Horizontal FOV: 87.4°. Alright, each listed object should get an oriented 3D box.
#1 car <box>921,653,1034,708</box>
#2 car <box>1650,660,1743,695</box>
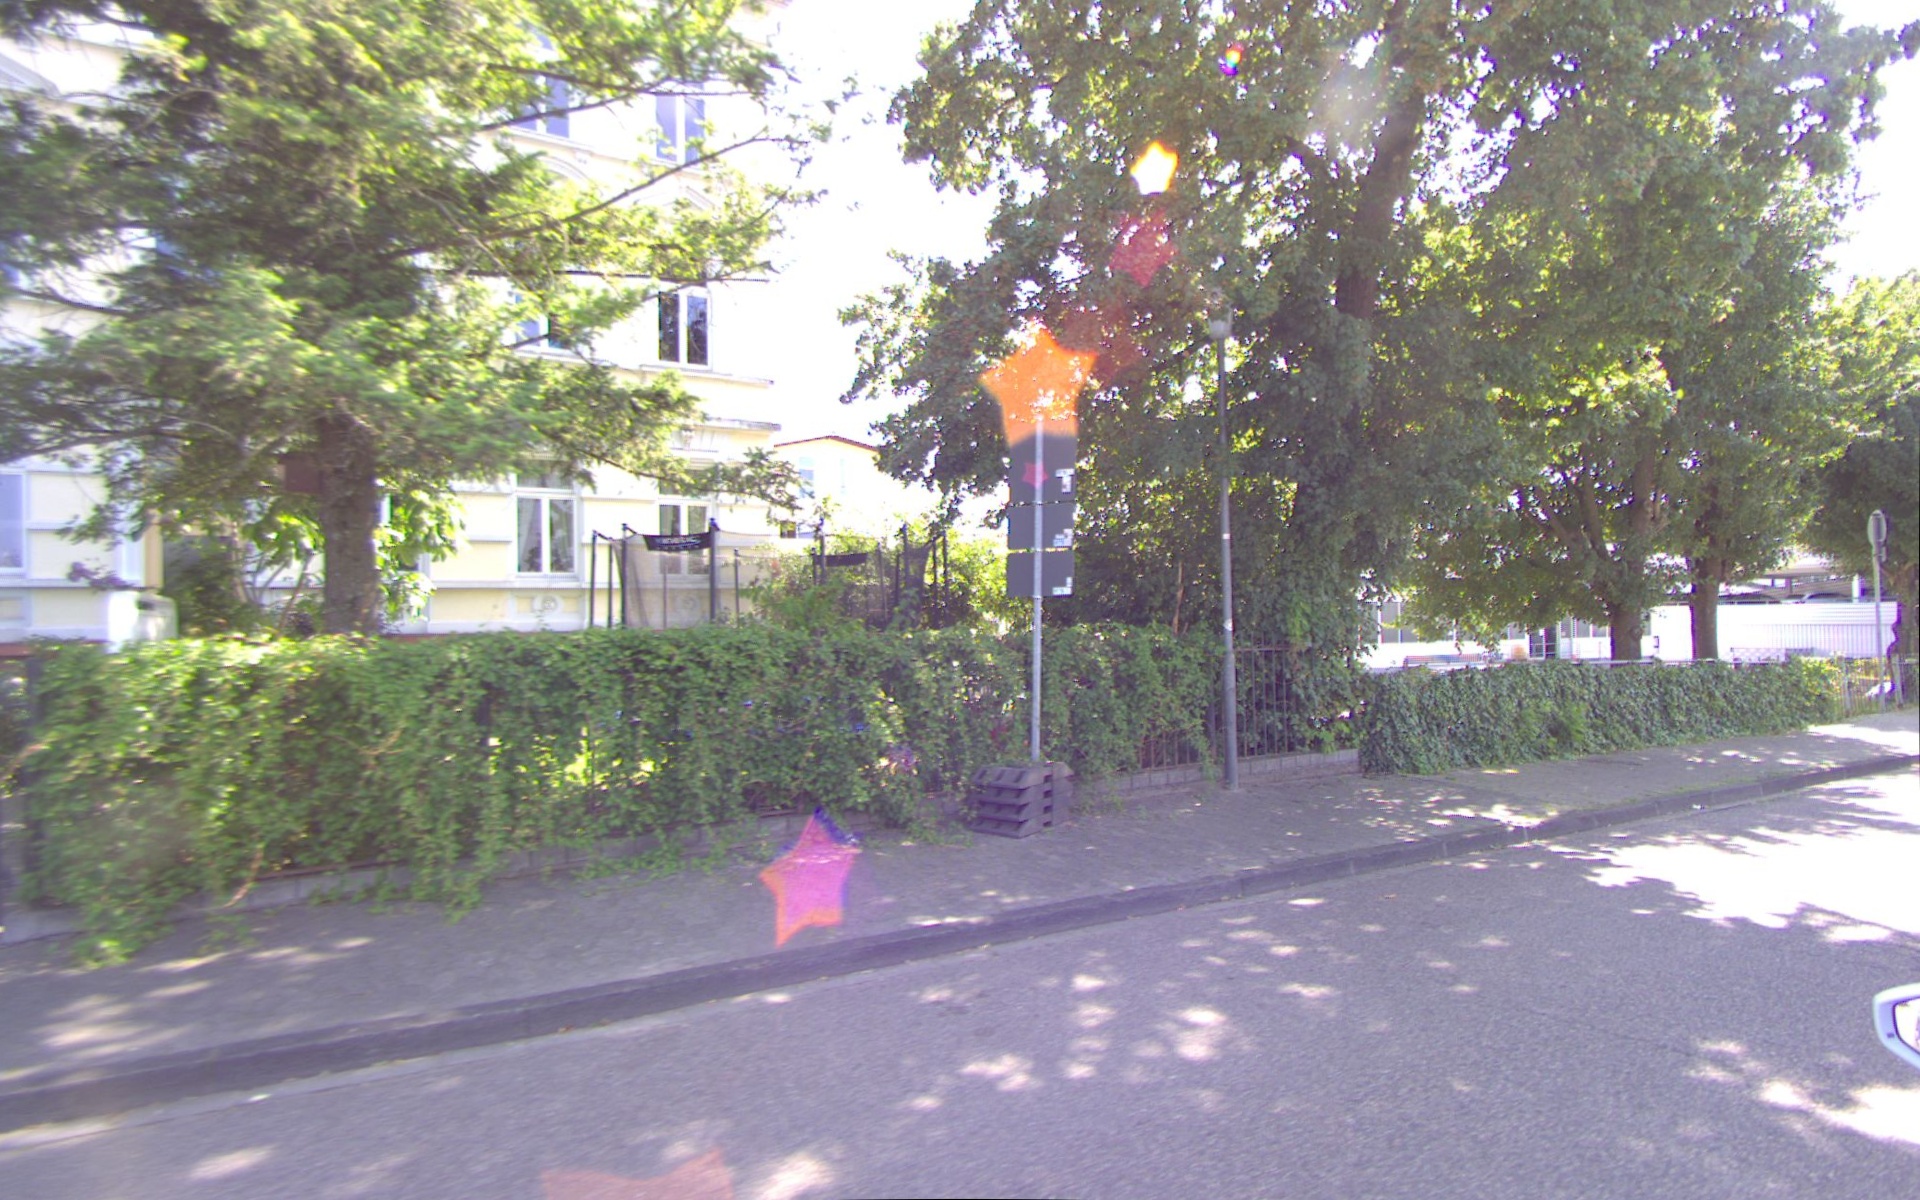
[{"bbox_3d":[0.977,4.434,55.973,5.847,2.913,2.432,1,-4,-22],"label":"car"},{"bbox_3d":[34.876,3.644,47.576,3.949,1.461,1.986,0,-2,-27],"label":"car"}]
